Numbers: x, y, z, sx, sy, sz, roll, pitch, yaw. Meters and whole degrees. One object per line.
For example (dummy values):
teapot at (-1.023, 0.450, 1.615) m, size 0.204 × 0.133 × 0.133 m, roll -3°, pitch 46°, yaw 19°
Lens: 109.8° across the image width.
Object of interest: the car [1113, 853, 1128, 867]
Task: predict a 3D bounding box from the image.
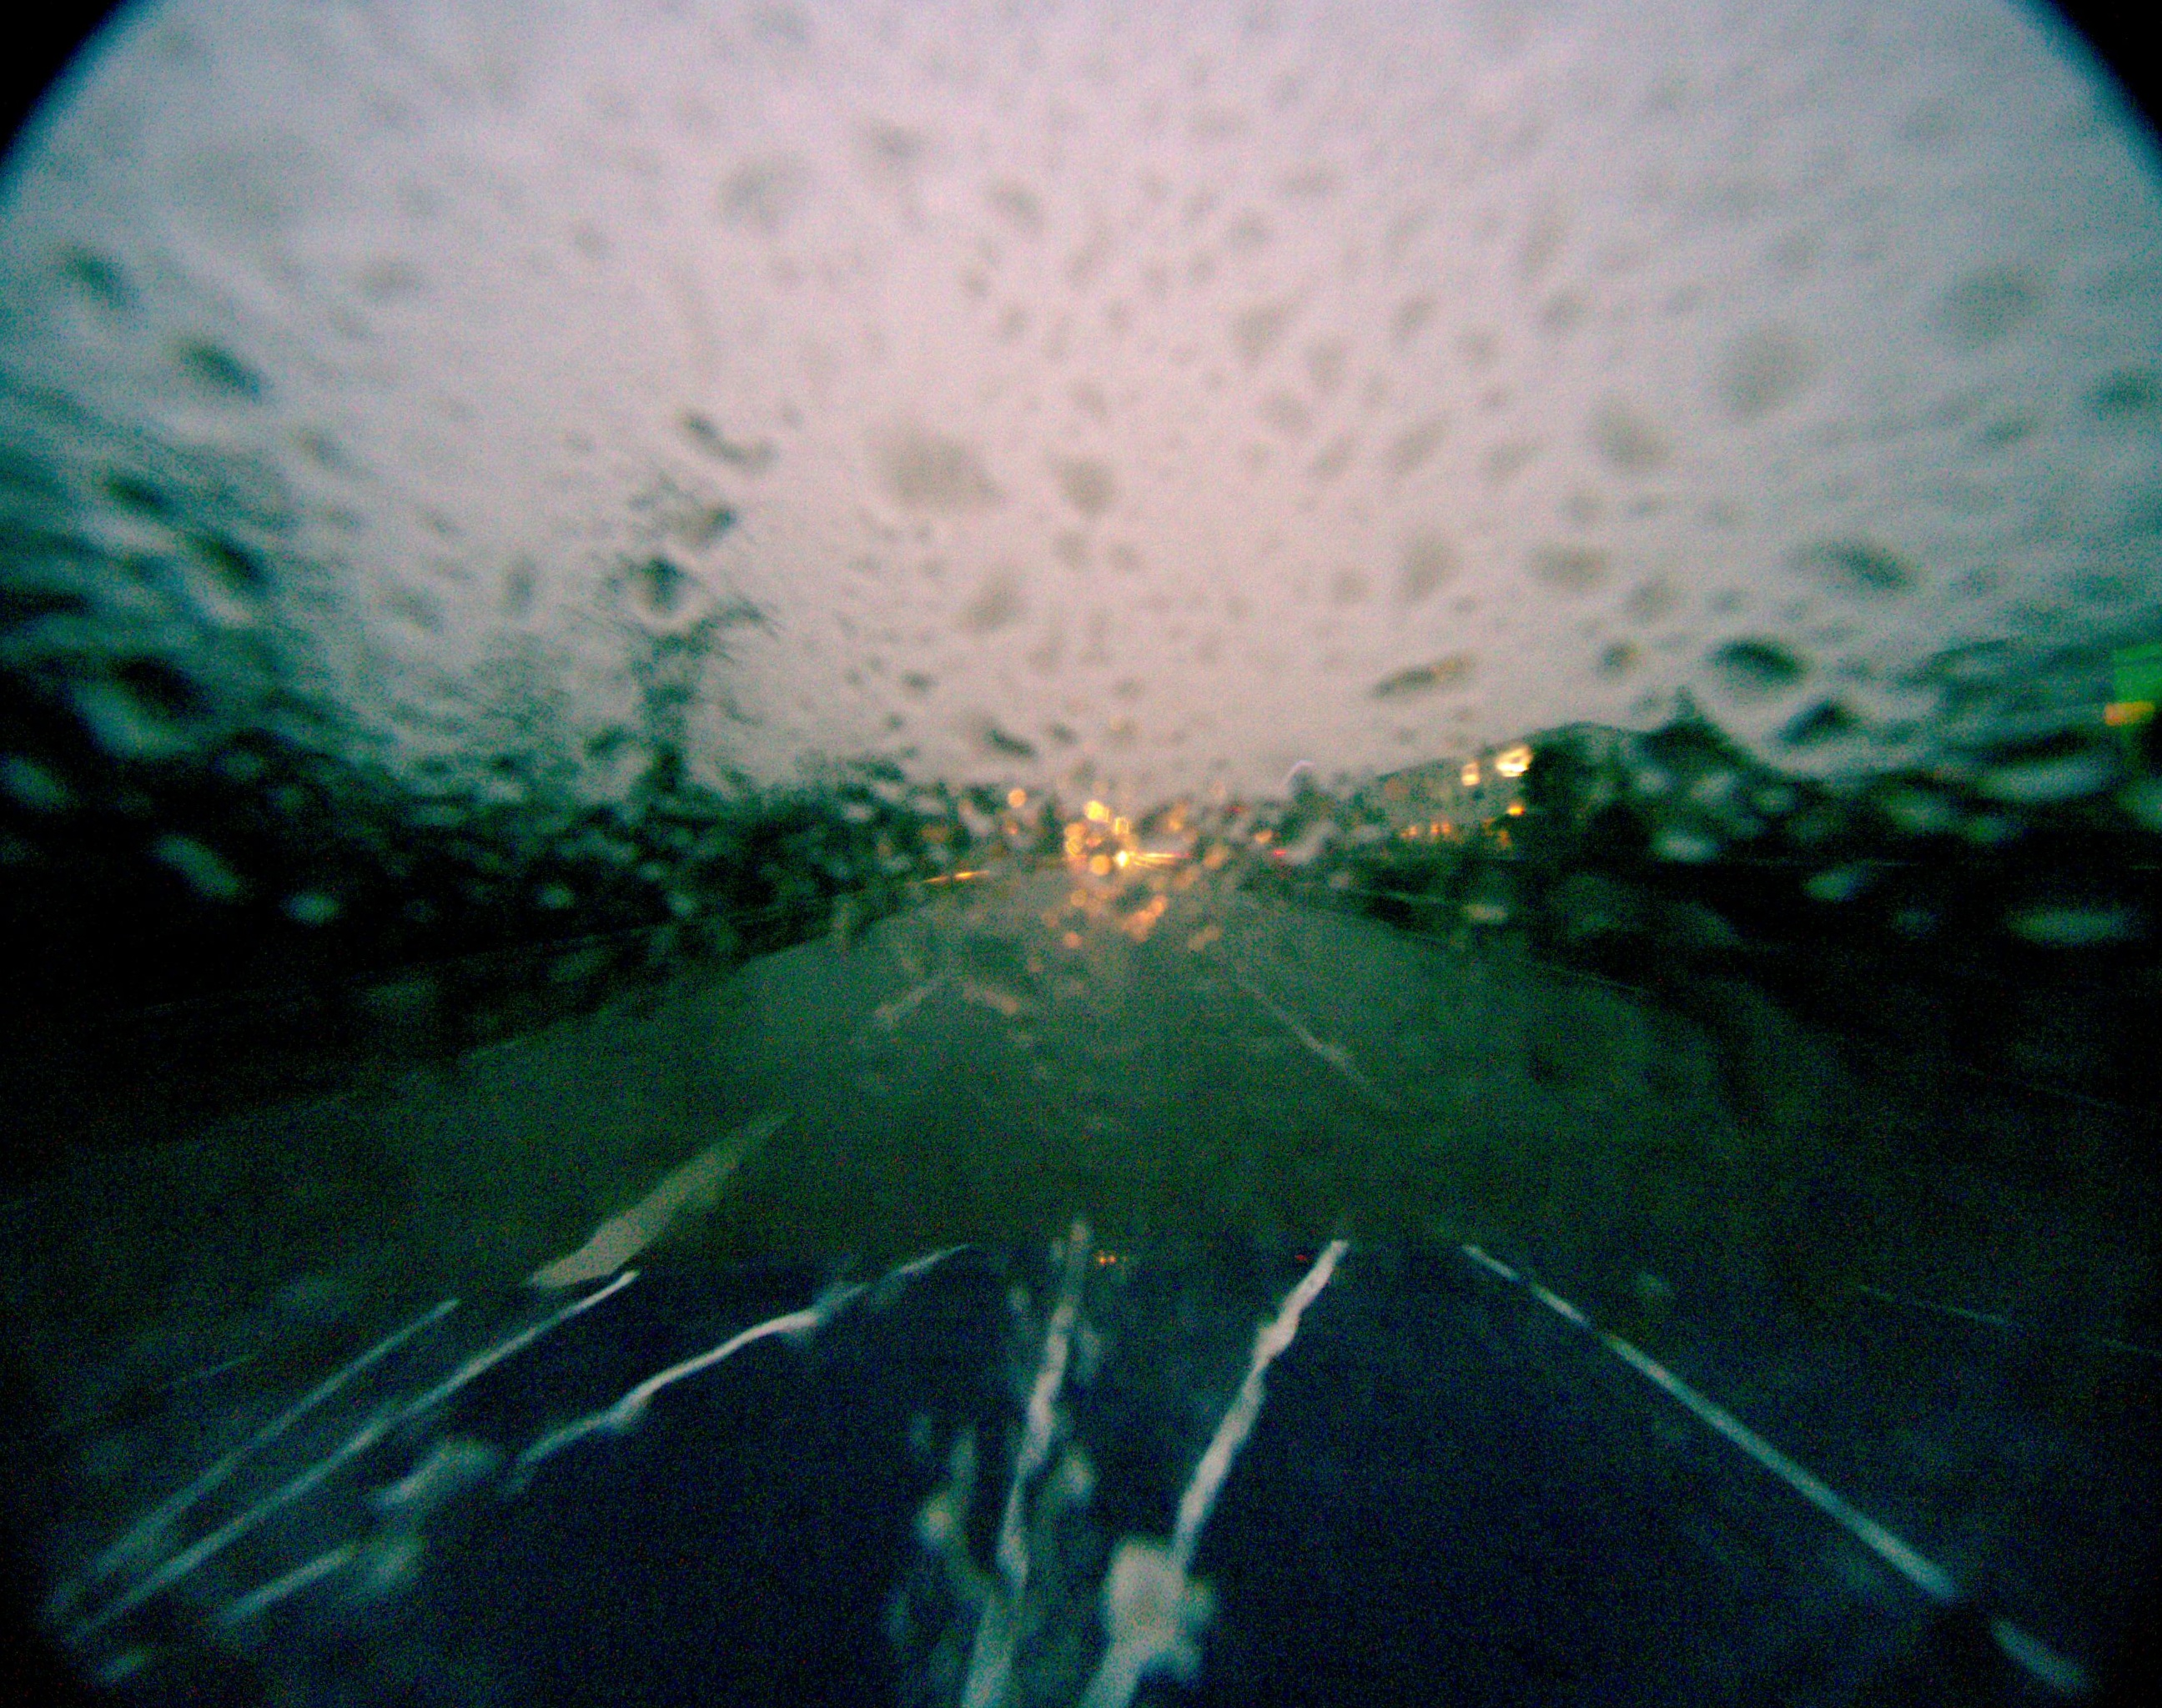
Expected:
car at (6.444, 0.948, 123.619) m, size 1.999 × 2.002 × 3.999 m, roll -4°, pitch 0°, yaw -1°

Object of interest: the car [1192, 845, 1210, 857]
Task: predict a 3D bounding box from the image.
car at (15.856, -0.365, 100.813) m, size 1.741 × 1.499 × 4.000 m, roll -3°, pitch 1°, yaw 1°

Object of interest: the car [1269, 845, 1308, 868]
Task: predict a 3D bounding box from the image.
car at (14.794, 0.136, 54.375) m, size 1.741 × 1.499 × 4.000 m, roll -3°, pitch 1°, yaw 1°

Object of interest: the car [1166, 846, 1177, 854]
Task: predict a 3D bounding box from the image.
car at (18.350, -0.856, 153.746) m, size 1.741 × 1.499 × 4.000 m, roll -3°, pitch 1°, yaw 1°

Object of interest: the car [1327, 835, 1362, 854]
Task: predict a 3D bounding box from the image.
car at (30.056, -1.032, 86.943) m, size 2.160 × 2.002 × 4.960 m, roll -3°, pitch 0°, yaw -1°

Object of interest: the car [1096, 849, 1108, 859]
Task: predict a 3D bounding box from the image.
car at (3.113, 0.025, 110.889) m, size 1.682 × 1.401 × 3.775 m, roll -1°, pitch 1°, yaw 2°

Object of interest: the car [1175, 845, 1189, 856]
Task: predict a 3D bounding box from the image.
car at (15.832, -0.542, 119.358) m, size 1.741 × 1.499 × 4.000 m, roll -3°, pitch 1°, yaw 1°
